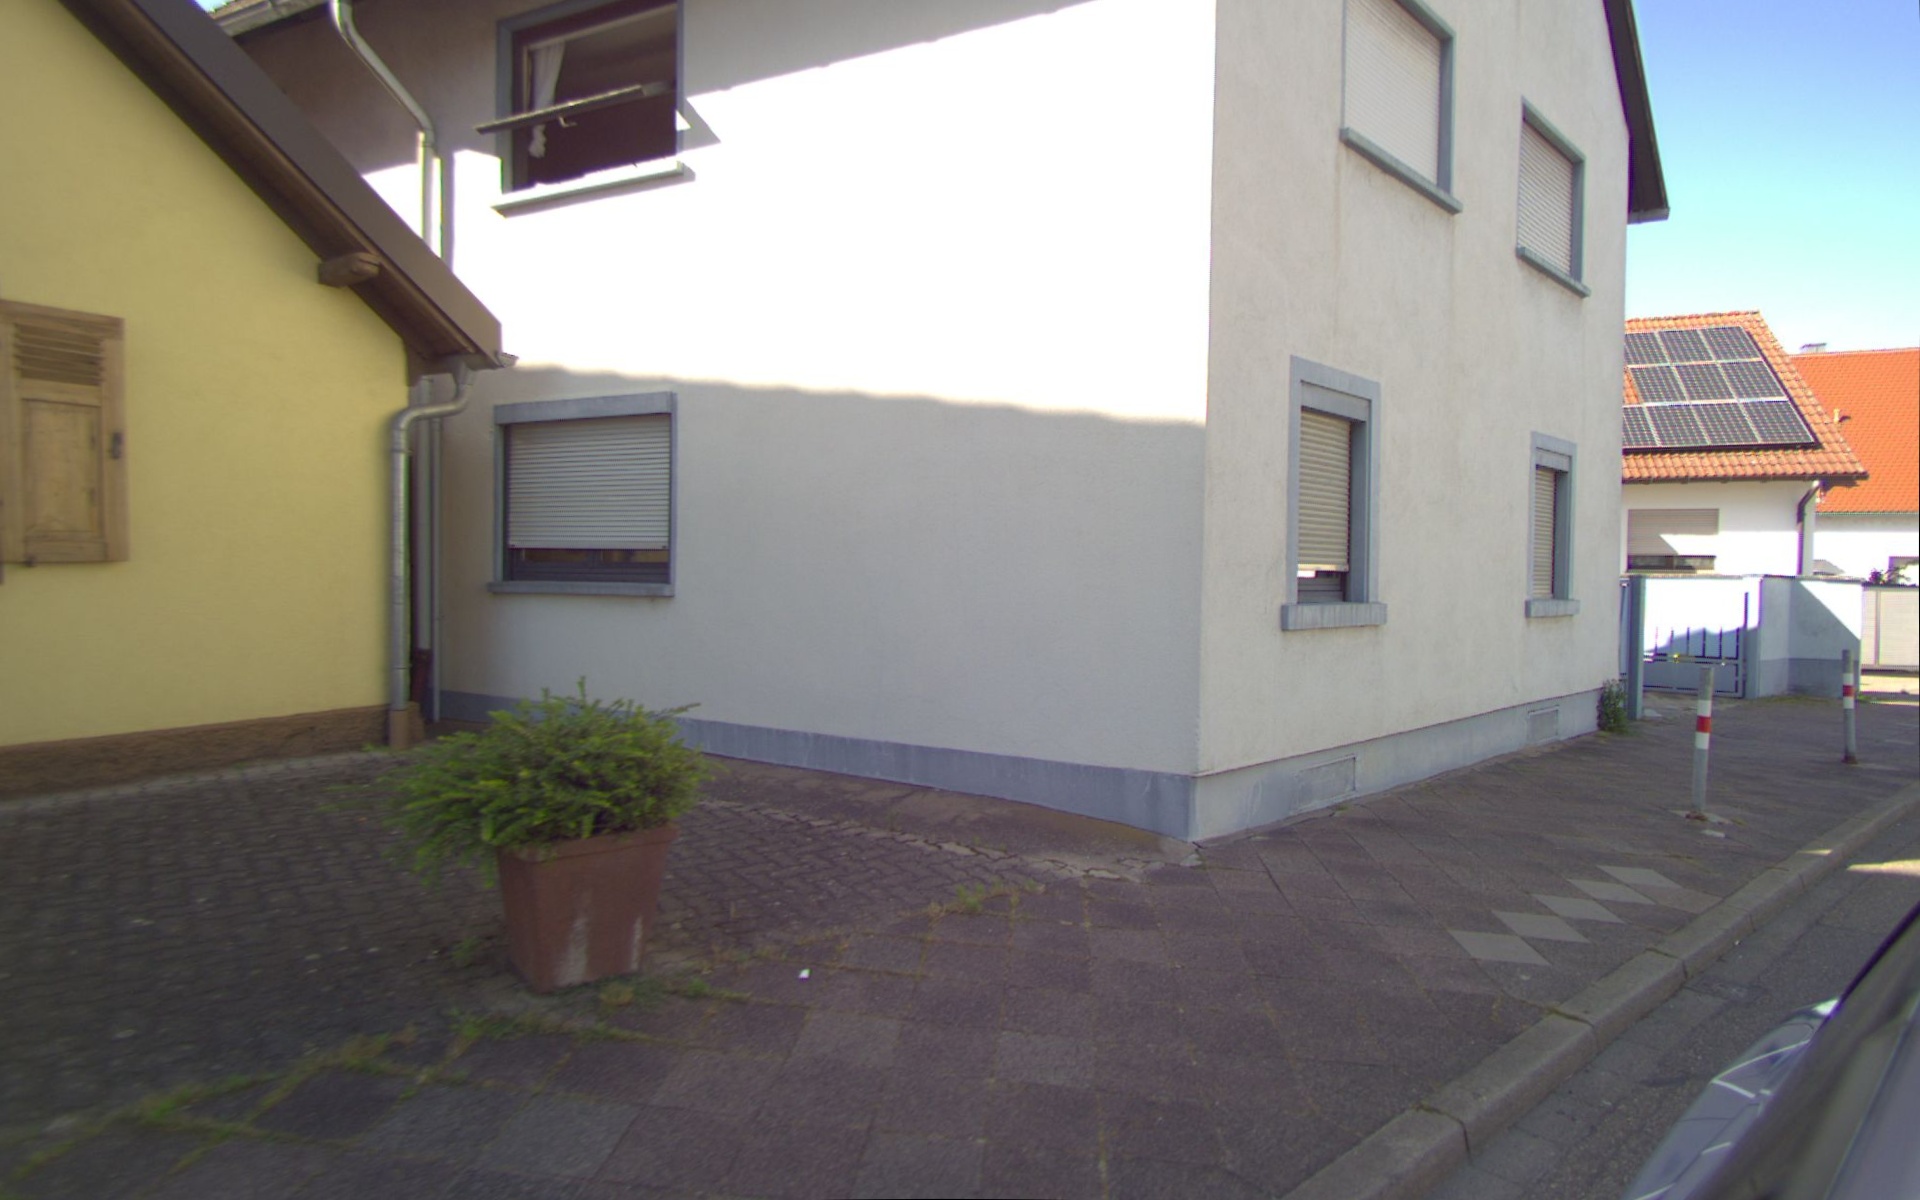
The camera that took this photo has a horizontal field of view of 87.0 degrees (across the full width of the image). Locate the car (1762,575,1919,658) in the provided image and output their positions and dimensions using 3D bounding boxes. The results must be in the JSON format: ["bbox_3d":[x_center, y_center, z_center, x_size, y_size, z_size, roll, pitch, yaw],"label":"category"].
[{"bbox_3d":[19.195,0.337,20.681,1.809,1.510,3.934,1,3,-24],"label":"car"}]

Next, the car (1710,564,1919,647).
[{"bbox_3d":[20.556,0.086,24.105,4.017,1.709,1.891,4,2,30],"label":"car"}]
